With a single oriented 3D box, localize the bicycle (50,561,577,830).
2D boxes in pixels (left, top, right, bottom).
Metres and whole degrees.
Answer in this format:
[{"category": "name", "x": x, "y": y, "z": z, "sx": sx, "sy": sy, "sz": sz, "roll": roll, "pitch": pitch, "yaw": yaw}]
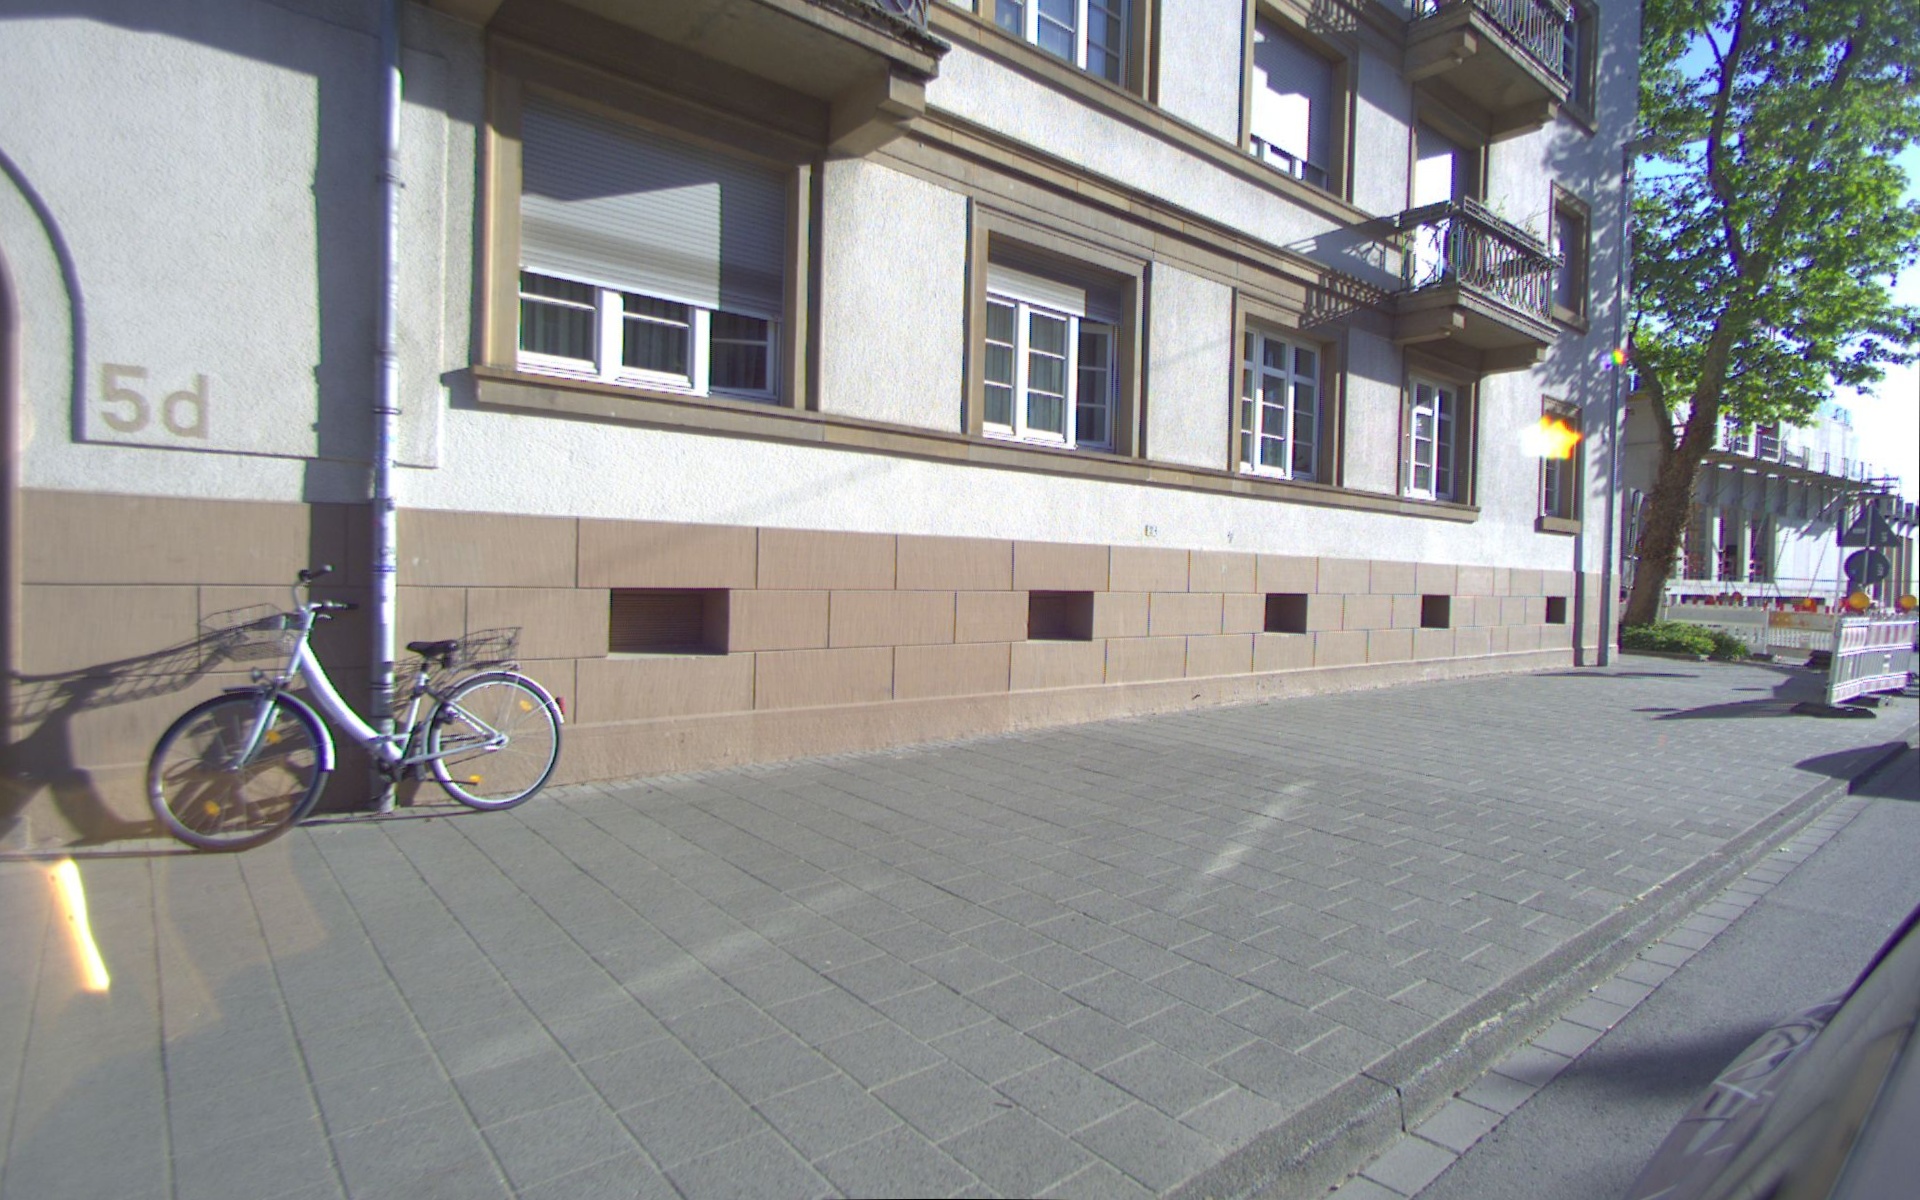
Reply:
[{"category": "bicycle", "x": -3.071, "y": 0.386, "z": 5.042, "sx": 2.159, "sy": 1.109, "sz": 0.419, "roll": 0, "pitch": 2, "yaw": -40}]
